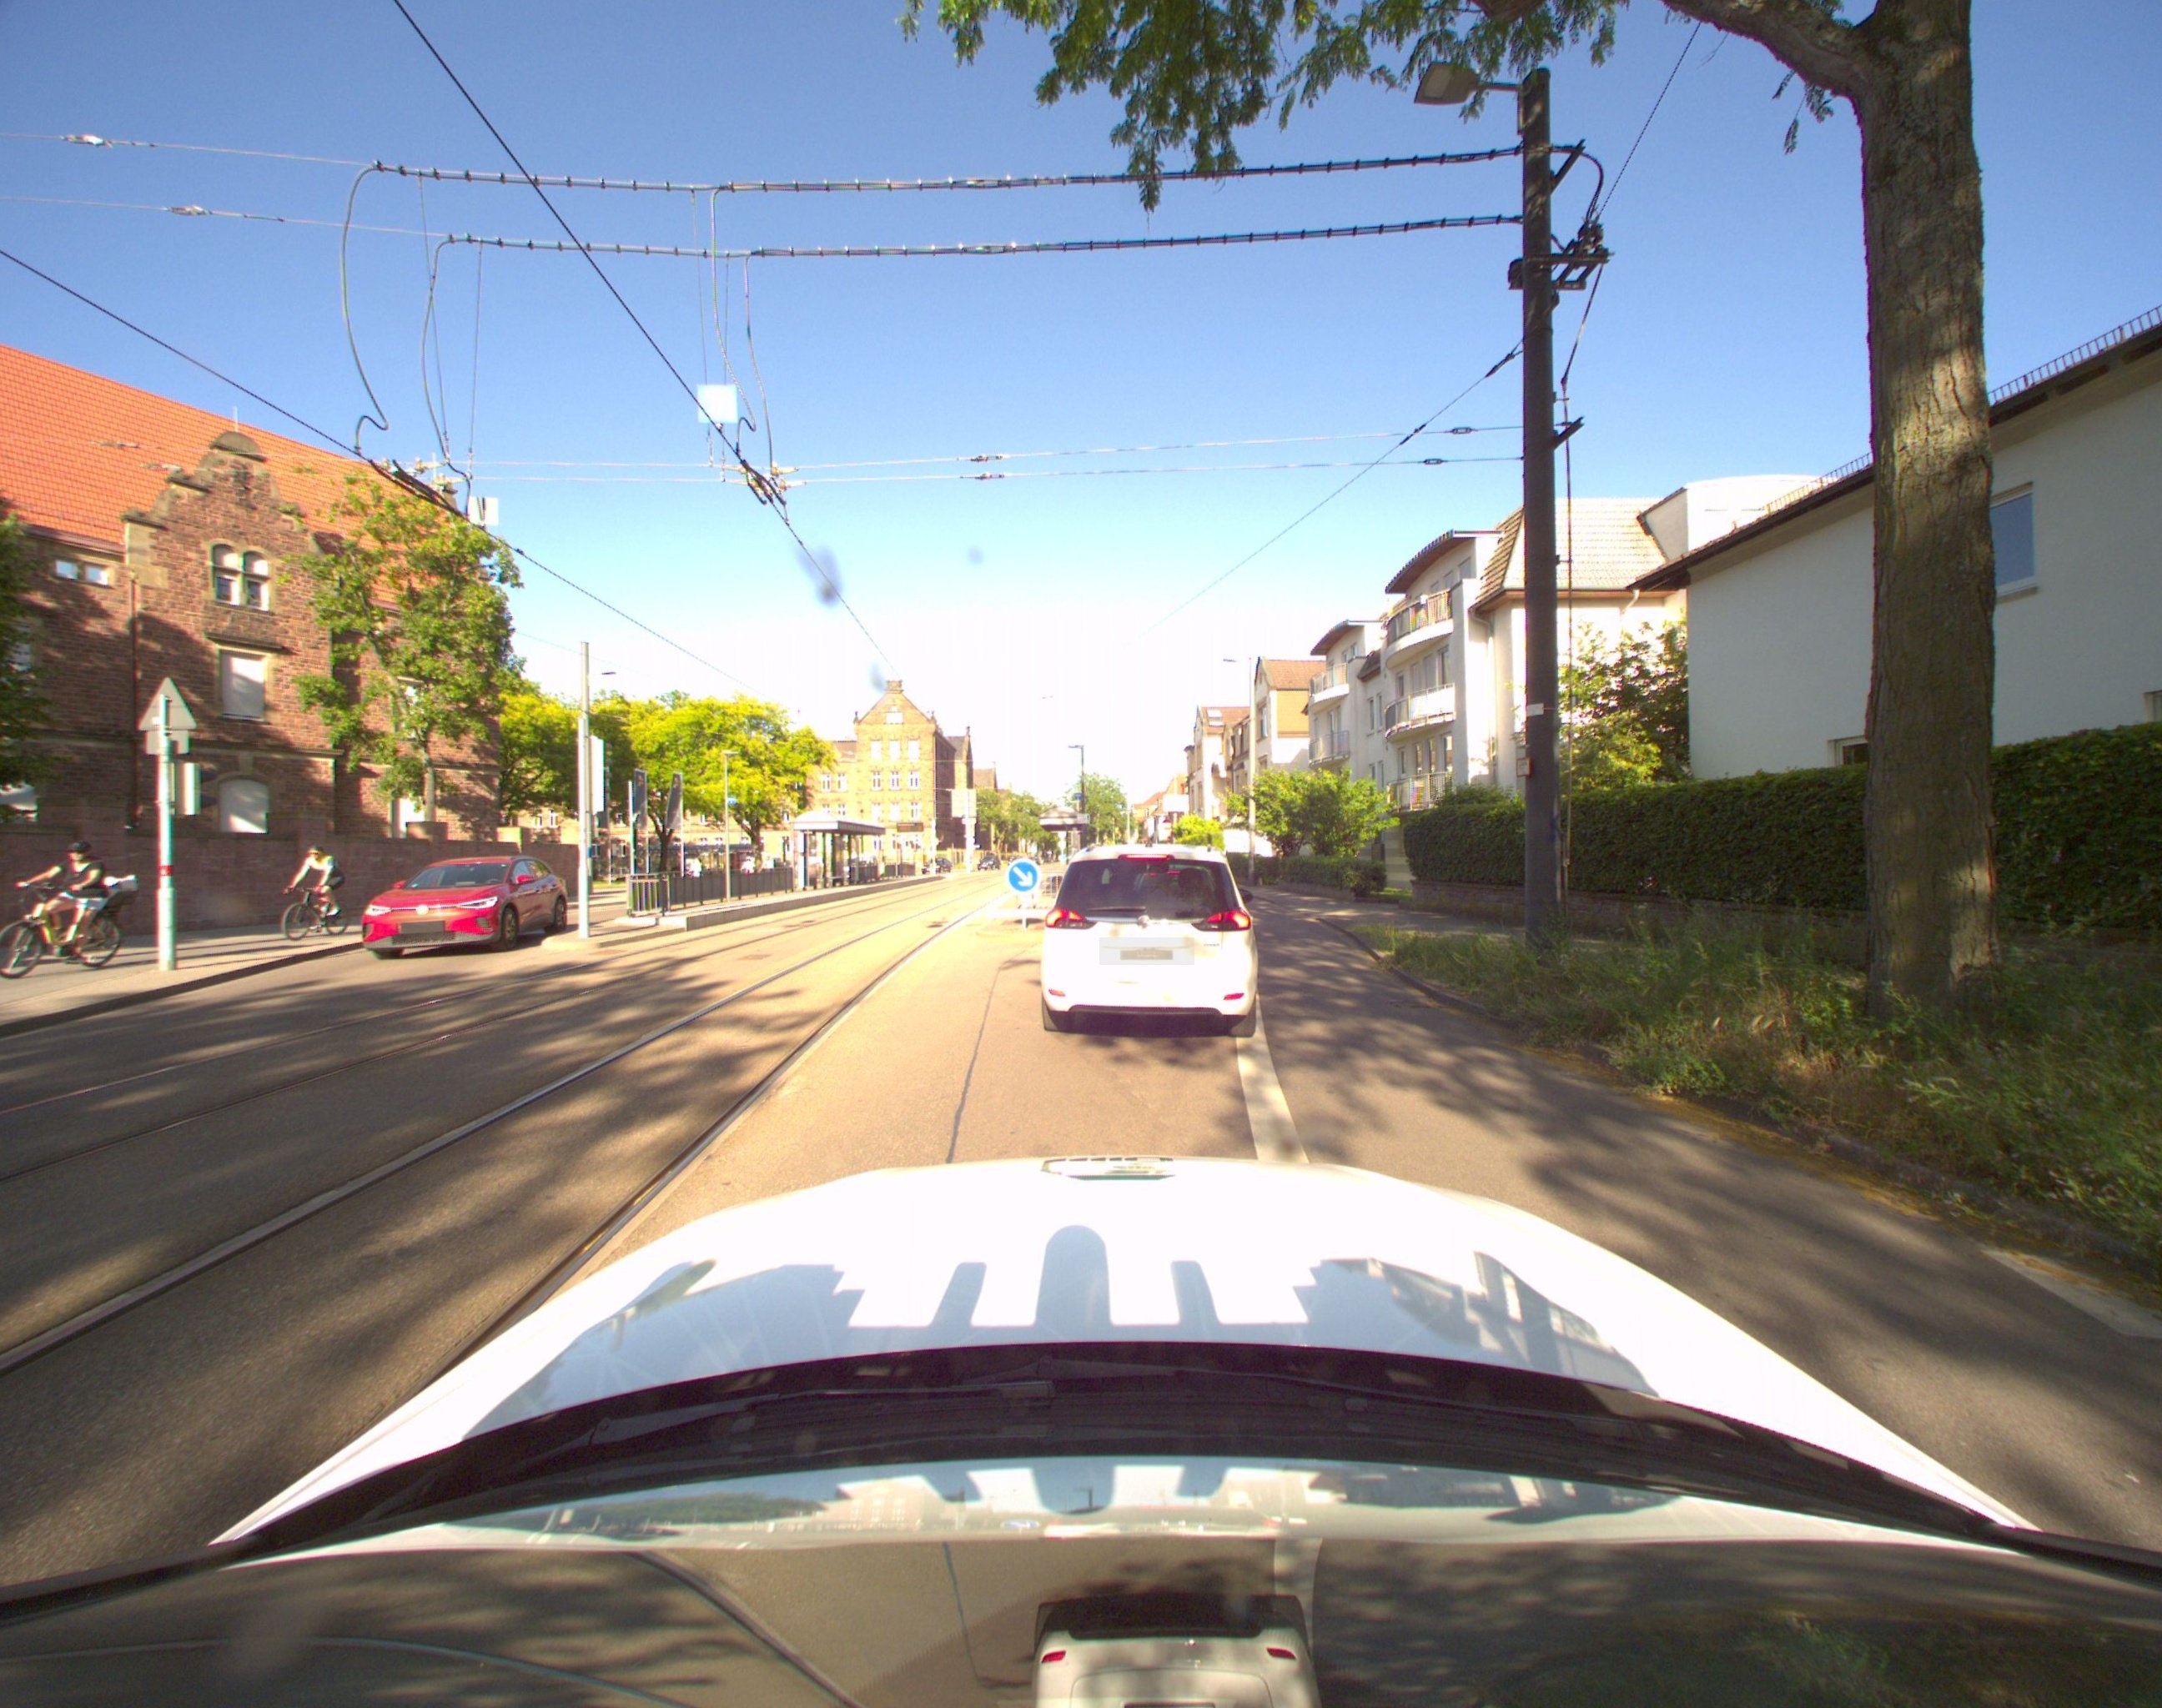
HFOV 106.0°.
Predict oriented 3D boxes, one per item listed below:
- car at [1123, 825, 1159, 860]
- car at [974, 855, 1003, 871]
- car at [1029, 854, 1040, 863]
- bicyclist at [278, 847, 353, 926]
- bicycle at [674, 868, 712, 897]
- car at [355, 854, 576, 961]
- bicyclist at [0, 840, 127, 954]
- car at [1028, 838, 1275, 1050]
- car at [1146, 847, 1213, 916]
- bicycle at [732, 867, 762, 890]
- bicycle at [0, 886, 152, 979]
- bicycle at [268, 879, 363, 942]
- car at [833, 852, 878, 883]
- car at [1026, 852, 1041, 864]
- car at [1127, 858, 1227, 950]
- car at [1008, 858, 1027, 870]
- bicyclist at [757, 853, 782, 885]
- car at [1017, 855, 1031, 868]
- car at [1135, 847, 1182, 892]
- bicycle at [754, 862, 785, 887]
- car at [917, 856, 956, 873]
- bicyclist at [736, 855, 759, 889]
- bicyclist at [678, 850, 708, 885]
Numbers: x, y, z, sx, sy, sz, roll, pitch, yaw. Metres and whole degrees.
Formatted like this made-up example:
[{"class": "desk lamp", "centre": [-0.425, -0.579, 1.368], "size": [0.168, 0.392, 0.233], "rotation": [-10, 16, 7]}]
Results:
[{"class": "car", "centre": [2.948, -0.577, 40.383], "size": [1.590, 1.634, 3.903], "rotation": [1, 1, 2]}, {"class": "car", "centre": [-10.062, 1.005, 88.878], "size": [1.815, 1.617, 4.341], "rotation": [-1, -1, 11]}, {"class": "car", "centre": [-8.243, 0.773, 145.615], "size": [1.657, 1.651, 3.999], "rotation": [-1, 0, 0]}, {"class": "bicyclist", "centre": [-14.832, 0.600, 15.806], "size": [0.655, 1.459, 1.144], "rotation": [-1, 0, -21]}, {"class": "bicycle", "centre": [-16.919, 1.232, 35.549], "size": [0.813, 1.198, 1.951], "rotation": [0, 0, -3]}, {"class": "car", "centre": [-10.892, 0.835, 14.840], "size": [1.822, 1.607, 4.333], "rotation": [-1, 0, -17]}, {"class": "bicyclist", "centre": [-13.907, 0.556, 11.111], "size": [0.655, 1.459, 1.144], "rotation": [-1, 0, -20]}, {"class": "car", "centre": [0.778, 0.669, 8.181], "size": [1.868, 1.585, 4.008], "rotation": [0, 0, 7]}, {"class": "car", "centre": [2.561, 0.642, 21.095], "size": [1.560, 1.614, 3.792], "rotation": [1, 0, 7]}, {"class": "bicycle", "centre": [-16.791, 1.232, 40.974], "size": [0.667, 1.072, 2.014], "rotation": [0, 0, -1]}, {"class": "bicycle", "centre": [-13.903, 1.020, 11.130], "size": [0.687, 1.089, 2.049], "rotation": [-1, 0, -20]}, {"class": "bicycle", "centre": [-14.838, 1.066, 15.844], "size": [0.687, 1.089, 1.842], "rotation": [-1, 0, -21]}, {"class": "car", "centre": [-13.983, 0.793, 50.731], "size": [1.823, 1.788, 4.250], "rotation": [-1, 0, -3]}, {"class": "car", "centre": [-7.925, 0.626, 136.510], "size": [1.985, 2.013, 4.003], "rotation": [-1, 0, 3]}, {"class": "car", "centre": [1.774, 0.801, 14.857], "size": [1.560, 1.401, 3.792], "rotation": [1, 0, 7]}, {"class": "car", "centre": [-7.978, 1.222, 102.268], "size": [1.819, 1.446, 4.330], "rotation": [-1, -1, 2]}, {"class": "bicyclist", "centre": [-15.658, 0.749, 40.947], "size": [0.758, 1.536, 1.347], "rotation": [-1, 0, -2]}, {"class": "car", "centre": [-8.107, 1.020, 116.122], "size": [1.823, 1.788, 4.322], "rotation": [-1, -1, -3]}, {"class": "car", "centre": [3.008, 0.575, 32.147], "size": [1.590, 1.635, 3.903], "rotation": [1, 0, 2]}, {"class": "bicycle", "centre": [-15.651, 1.010, 40.948], "size": [0.775, 1.231, 2.087], "rotation": [-1, 0, -2]}, {"class": "car", "centre": [-12.930, 0.948, 73.232], "size": [1.786, 1.382, 4.511], "rotation": [-1, 0, 13]}, {"class": "bicyclist", "centre": [-16.795, 0.907, 41.038], "size": [0.648, 1.674, 1.233], "rotation": [1, 1, -1]}, {"class": "bicyclist", "centre": [-16.922, 0.577, 35.545], "size": [0.755, 1.471, 1.189], "rotation": [0, -1, -3]}]
